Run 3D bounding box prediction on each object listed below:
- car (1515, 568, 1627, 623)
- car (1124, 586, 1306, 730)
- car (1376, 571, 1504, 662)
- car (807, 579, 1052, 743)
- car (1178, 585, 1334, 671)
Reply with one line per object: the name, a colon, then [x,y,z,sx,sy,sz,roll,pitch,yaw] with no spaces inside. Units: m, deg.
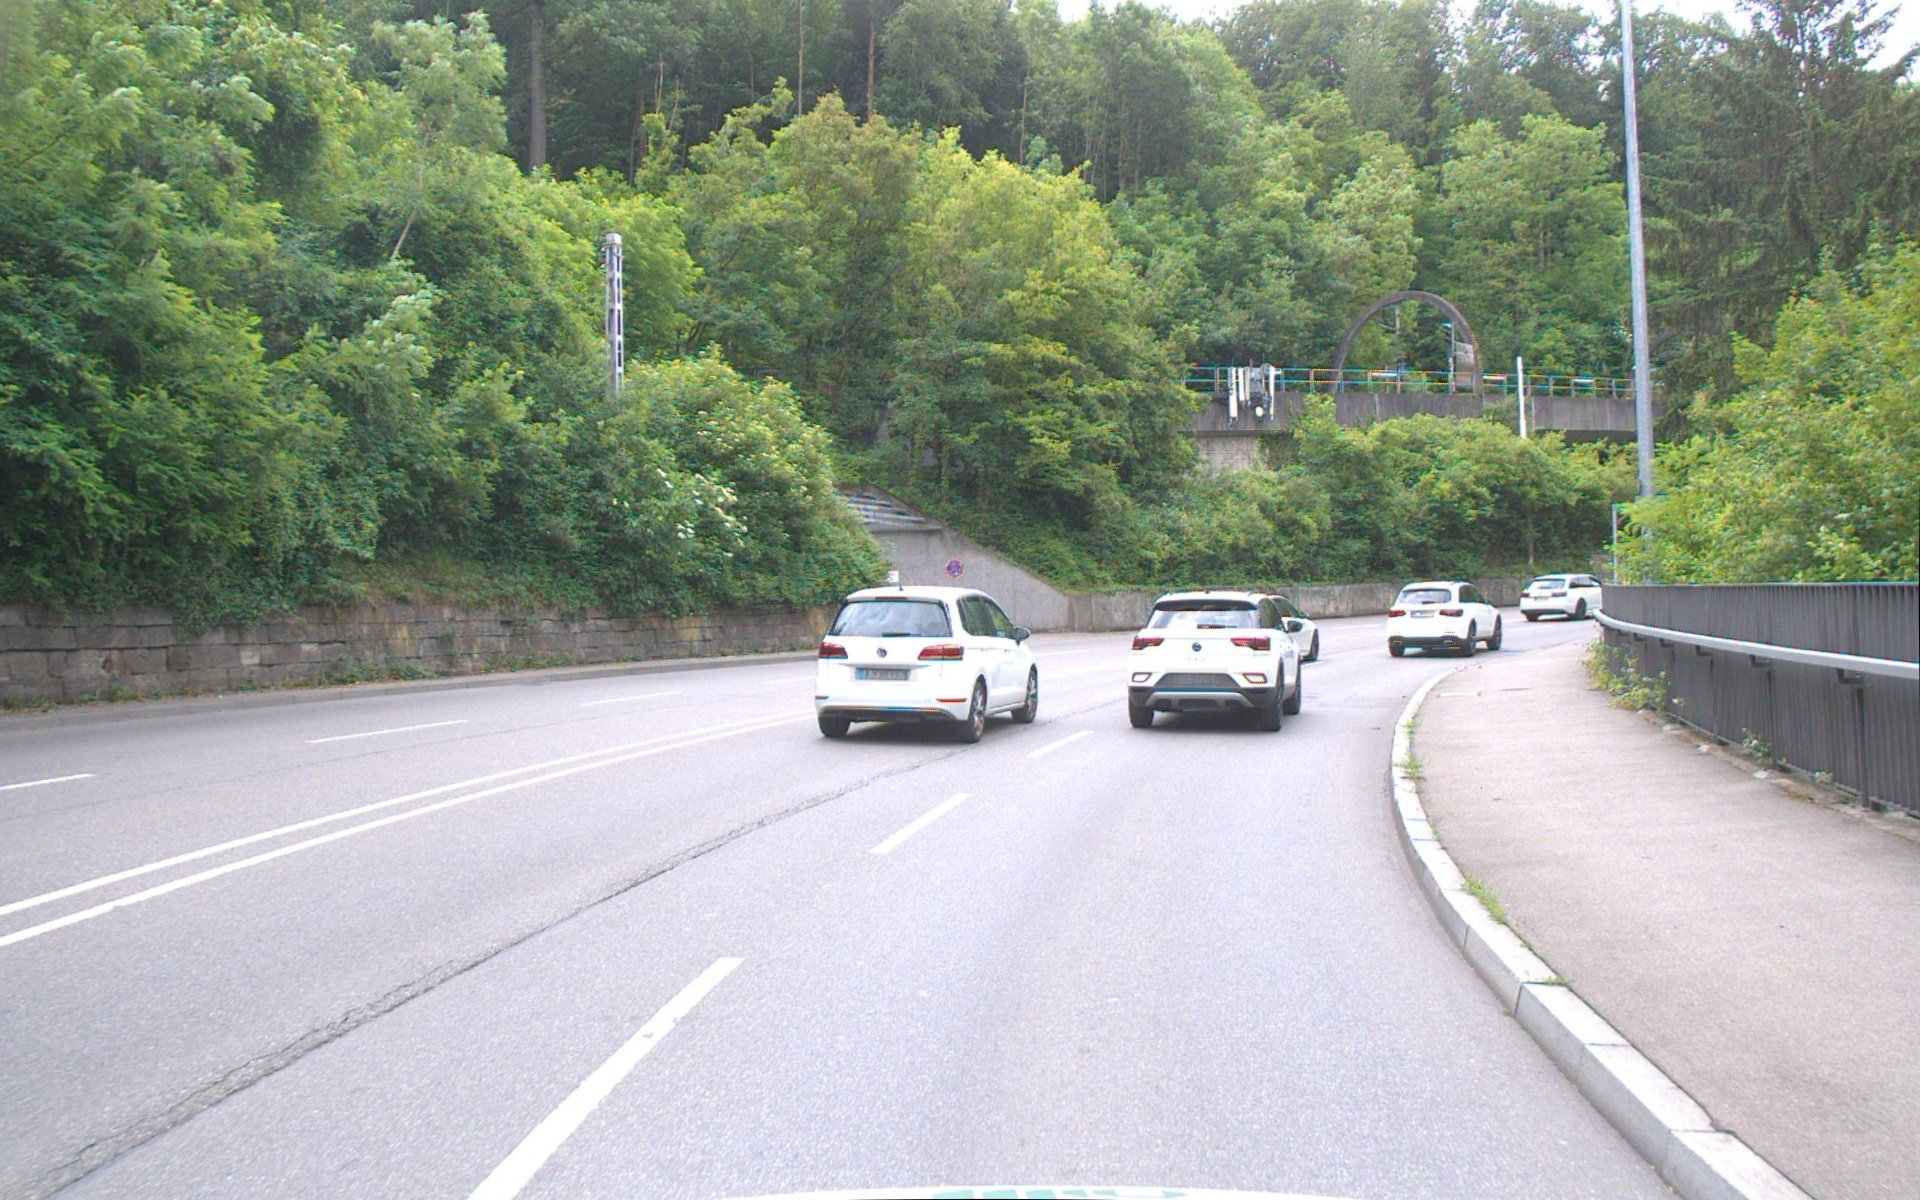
car: [20.190,-0.124,54.568,4.272,1.546,1.720,4,-3,-43]
car: [3.202,0.662,20.159,1.775,1.566,4.011,0,-1,15]
car: [11.156,0.412,38.233,1.956,1.876,4.142,1,-2,29]
car: [-0.199,0.643,18.500,1.683,1.582,4.278,1,-1,14]
car: [6.309,0.537,34.838,1.955,1.584,4.676,3,2,26]
